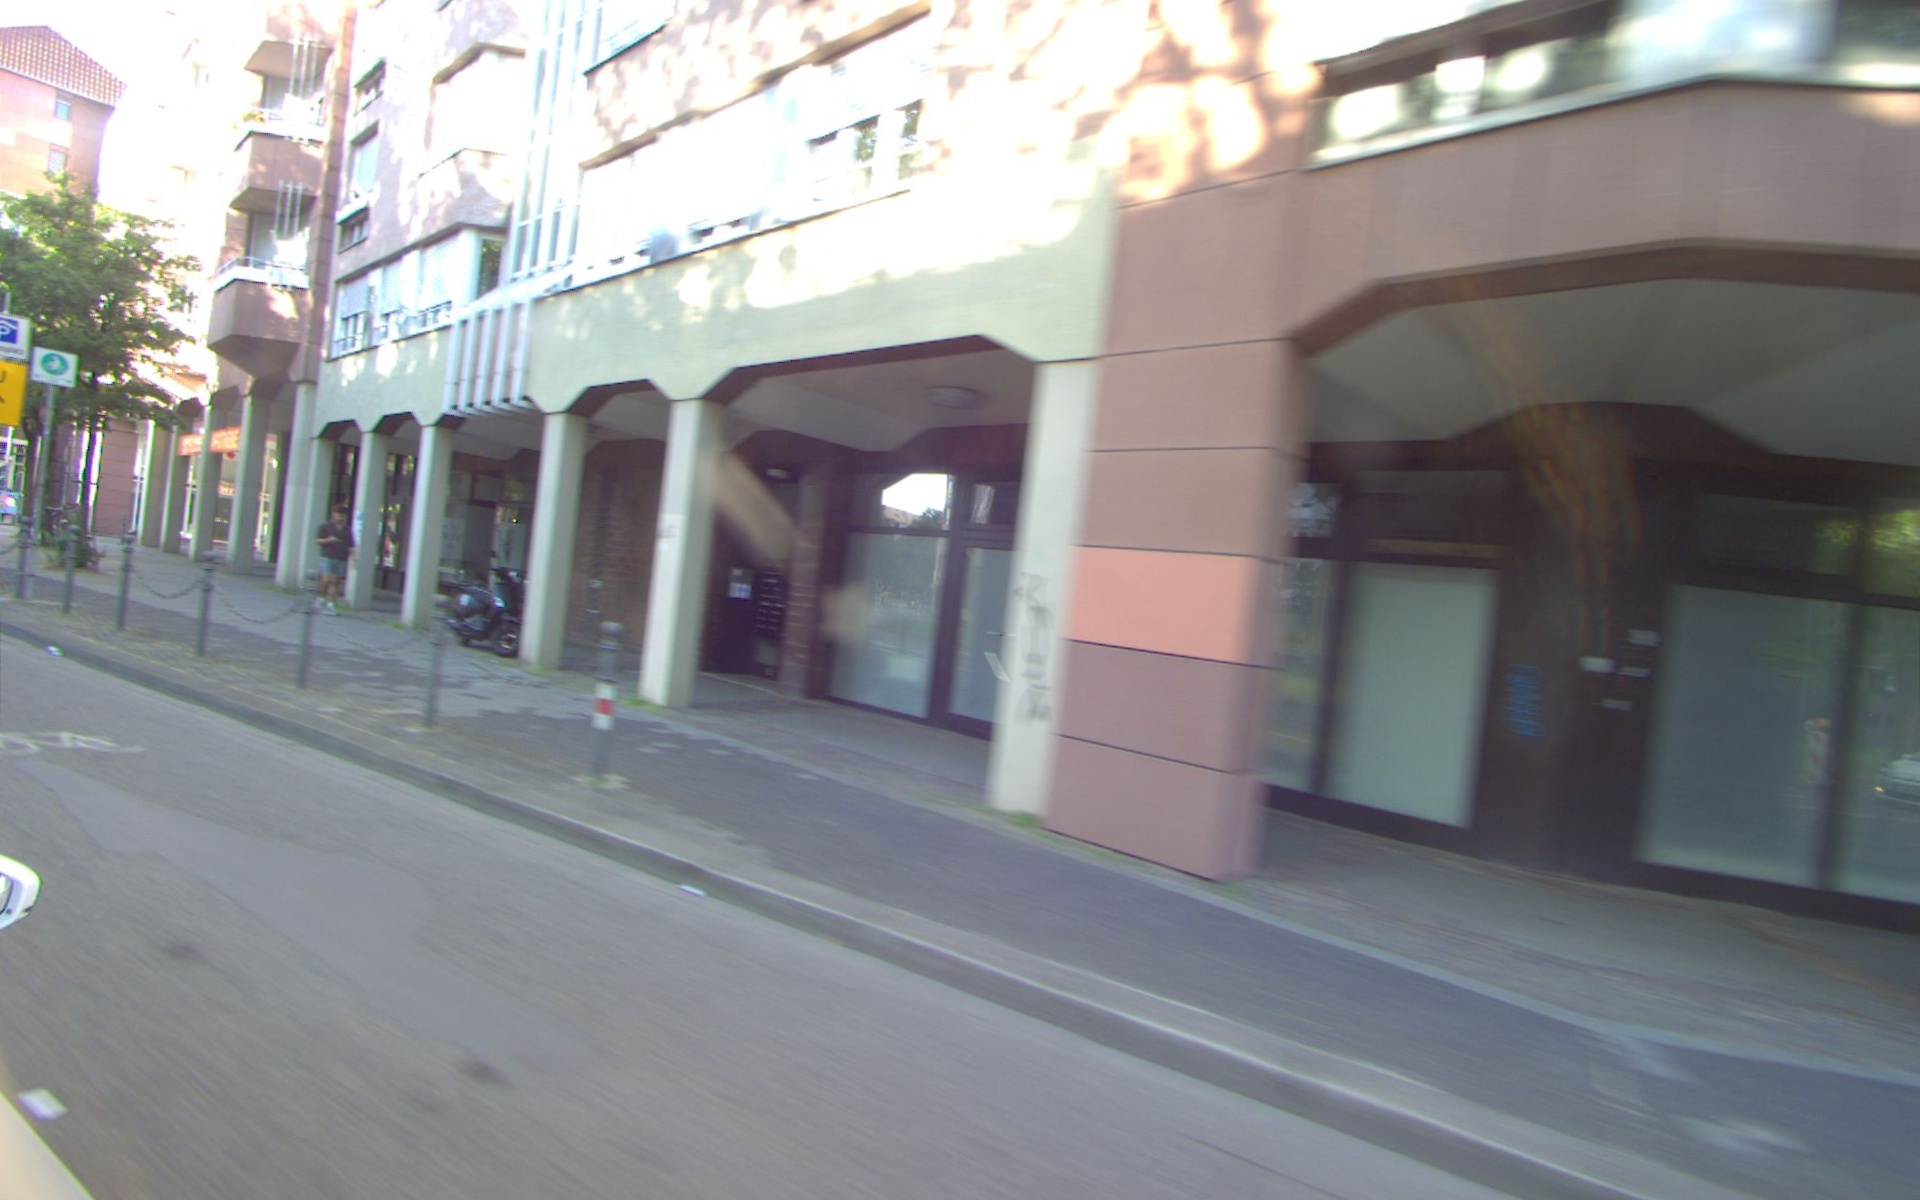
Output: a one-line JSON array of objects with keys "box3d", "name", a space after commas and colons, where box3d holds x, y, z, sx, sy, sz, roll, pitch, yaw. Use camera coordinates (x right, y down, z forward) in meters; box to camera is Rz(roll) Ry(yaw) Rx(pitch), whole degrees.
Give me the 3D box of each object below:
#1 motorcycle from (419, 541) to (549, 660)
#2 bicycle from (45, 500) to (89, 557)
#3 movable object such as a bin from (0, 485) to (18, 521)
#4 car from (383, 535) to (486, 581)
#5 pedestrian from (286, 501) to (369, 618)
[{"box3d": [-6.561, -0.015, 13.815, 2.056, 1.389, 0.488, 7, 0, 33], "name": "motorcycle"}, {"box3d": [-21.672, -1.741, 24.406, 0.620, 1.241, 1.902, 7, 0, -44], "name": "bicycle"}, {"box3d": [-42.260, -4.310, 43.996, 0.860, 1.500, 1.407, 7, 0, 44], "name": "movable object such as a bin"}, {"box3d": [-26.578, -2.100, 50.968, 1.776, 1.742, 4.179, 7, -1, 41], "name": "car"}, {"box3d": [-10.231, -0.655, 16.271, 0.825, 1.760, 0.780, 7, 1, 41], "name": "pedestrian"}]
